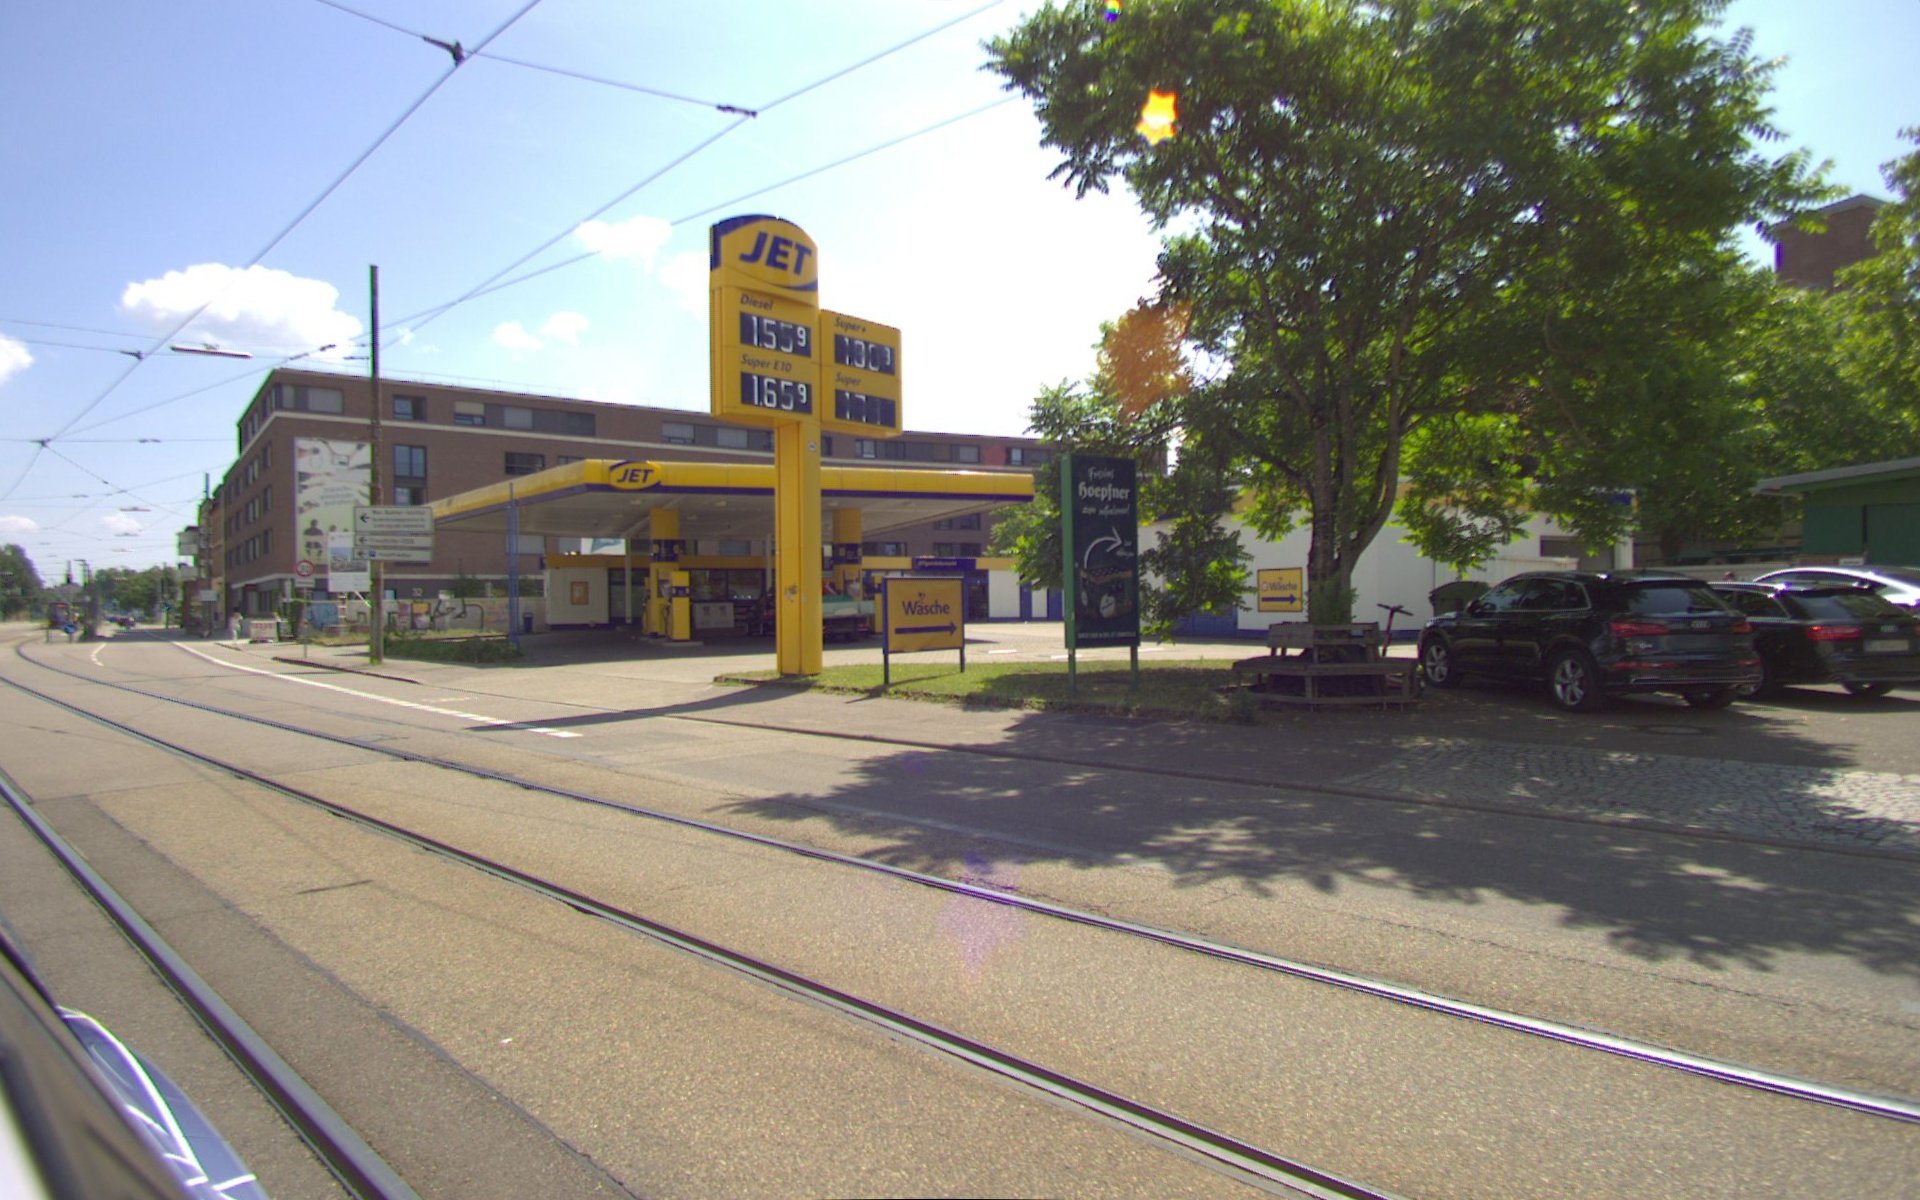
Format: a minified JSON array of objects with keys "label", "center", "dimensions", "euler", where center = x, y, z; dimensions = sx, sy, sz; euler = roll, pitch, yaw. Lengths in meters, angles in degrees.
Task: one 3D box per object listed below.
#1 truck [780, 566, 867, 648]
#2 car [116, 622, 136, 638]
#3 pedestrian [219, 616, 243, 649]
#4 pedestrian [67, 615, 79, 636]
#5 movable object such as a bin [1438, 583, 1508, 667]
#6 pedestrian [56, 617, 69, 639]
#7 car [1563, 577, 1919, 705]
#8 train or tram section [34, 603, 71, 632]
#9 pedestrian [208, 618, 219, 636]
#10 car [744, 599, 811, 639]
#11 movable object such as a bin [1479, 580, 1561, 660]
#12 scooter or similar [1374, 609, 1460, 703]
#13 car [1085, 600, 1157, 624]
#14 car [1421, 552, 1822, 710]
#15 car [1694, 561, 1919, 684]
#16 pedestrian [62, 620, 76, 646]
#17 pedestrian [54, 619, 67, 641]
[{"label":"truck","center":[-4.651,0.212,33.747],"dimensions":[1.966,2.517,5.219],"euler":[-1,0,-18]},{"label":"car","center":[-116.169,4.203,140.888],"dimensions":[1.992,2.028,4.006],"euler":[-3,1,-41]},{"label":"pedestrian","center":[-37.232,1.675,51.662],"dimensions":[1.000,1.607,0.751],"euler":[-2,3,45]},{"label":"pedestrian","center":[-68.540,1.960,78.193],"dimensions":[0.677,1.608,0.762],"euler":[1,-1,-41]},{"label":"movable object such as a bin","center":[8.694,0.400,17.119],"dimensions":[0.757,1.364,1.331],"euler":[-1,0,40]},{"label":"pedestrian","center":[-73.301,2.282,82.645],"dimensions":[0.750,1.708,0.810],"euler":[1,-1,-42]},{"label":"car","center":[10.479,0.453,13.512],"dimensions":[1.880,1.405,4.340],"euler":[-1,0,-7]},{"label":"train or tram section","center":[-118.474,2.280,132.288],"dimensions":[3.195,3.594,16.375],"euler":[0,-1,-40]},{"label":"pedestrian","center":[-66.250,2.383,89.791],"dimensions":[0.677,1.608,0.762],"euler":[1,-1,-41]},{"label":"car","center":[-7.411,0.752,40.823],"dimensions":[1.965,1.490,4.356],"euler":[-1,-1,-20]},{"label":"movable object such as a bin","center":[9.864,0.334,17.820],"dimensions":[1.326,1.364,0.760],"euler":[-1,-1,-36]},{"label":"scooter or similar","center":[6.108,0.715,13.587],"dimensions":[0.400,1.183,1.362],"euler":[-1,0,-5]},{"label":"car","center":[8.687,0.640,54.897],"dimensions":[1.728,1.219,4.013],"euler":[-1,0,-28]},{"label":"car","center":[7.937,0.323,12.783],"dimensions":[1.970,1.602,4.337],"euler":[-1,0,-4]},{"label":"car","center":[13.383,0.276,14.886],"dimensions":[1.883,1.604,4.334],"euler":[-1,0,-1]},{"label":"pedestrian","center":[-62.071,2.293,70.501],"dimensions":[0.677,1.773,1.035],"euler":[1,-1,-41]},{"label":"pedestrian","center":[-73.444,2.467,82.638],"dimensions":[0.750,1.813,0.953],"euler":[1,-1,-41]}]
